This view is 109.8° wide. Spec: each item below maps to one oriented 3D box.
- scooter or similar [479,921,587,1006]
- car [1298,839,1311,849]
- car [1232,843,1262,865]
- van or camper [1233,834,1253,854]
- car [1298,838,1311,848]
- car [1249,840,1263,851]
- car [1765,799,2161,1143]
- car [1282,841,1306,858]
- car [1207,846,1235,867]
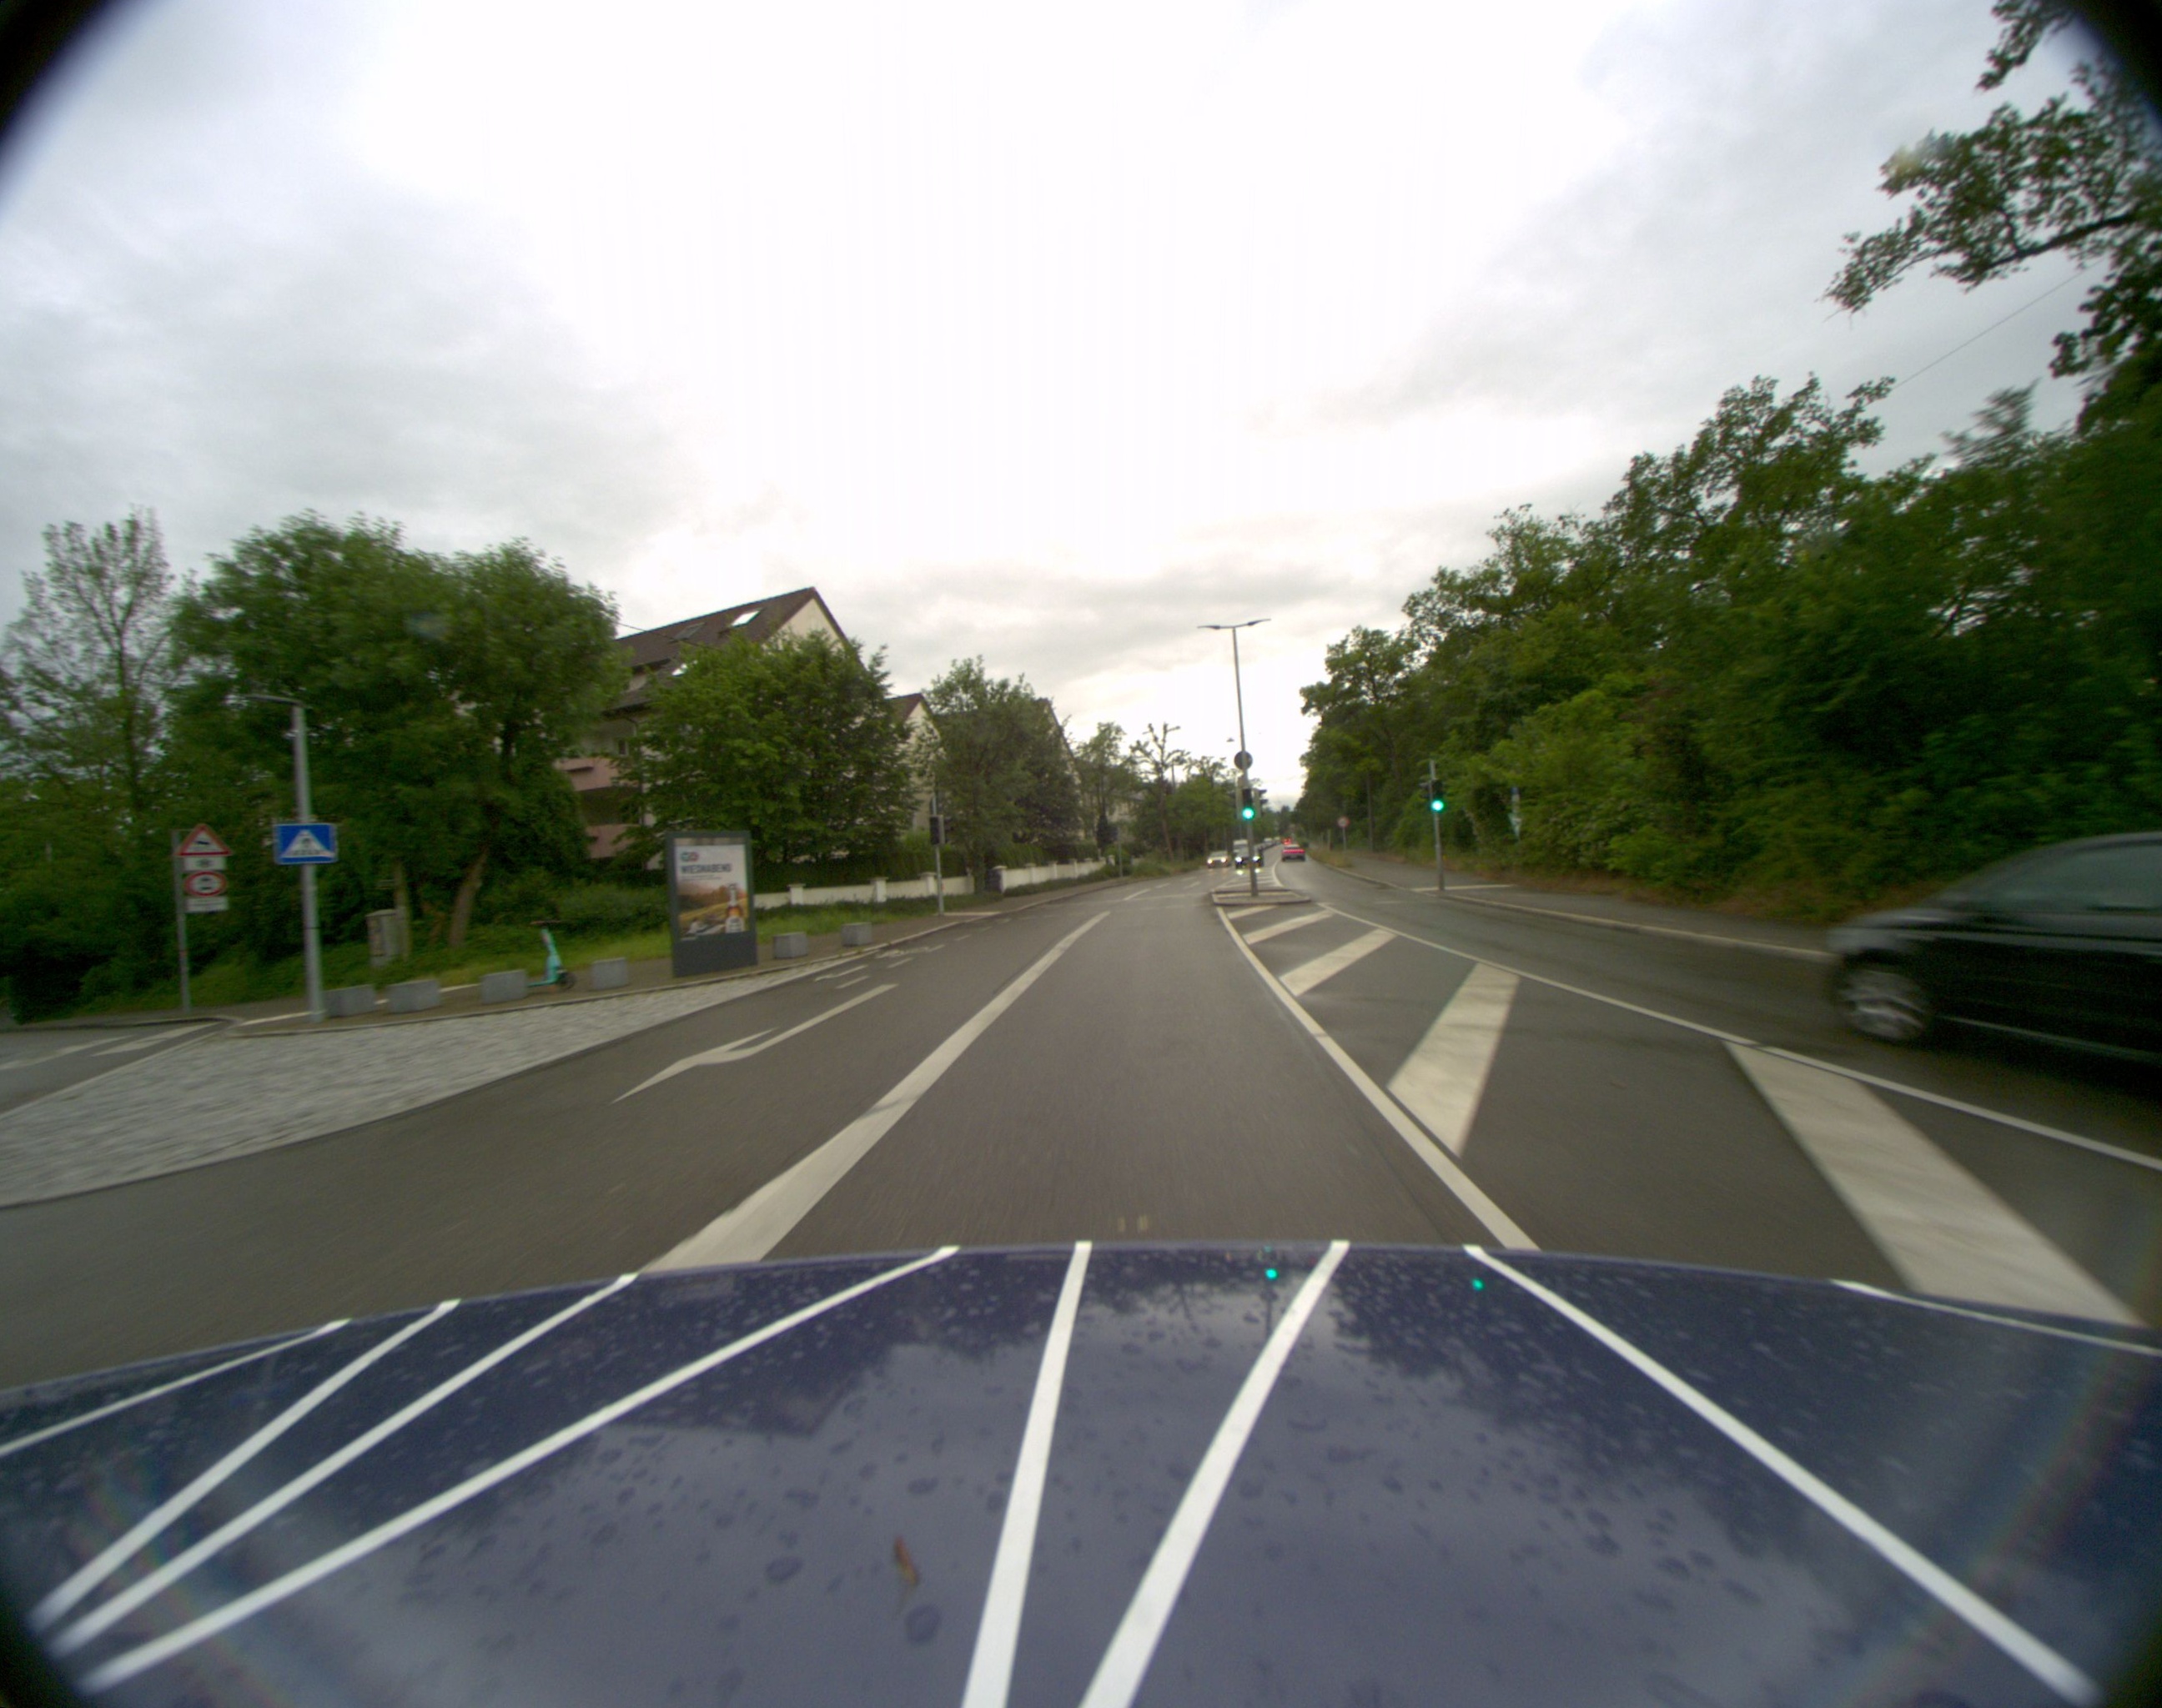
[{"bbox_3d":[-9.069,1.804,12.588,1.351,1.200,0.525,-7,1,9],"label":"scooter or similar"},{"bbox_3d":[39.599,-1.794,134.561,1.943,1.594,4.608,-3,0,15],"label":"car"},{"bbox_3d":[11.950,-0.034,54.519,1.943,1.446,4.608,-3,0,13],"label":"car"},{"bbox_3d":[21.464,-1.386,100.433,1.996,2.438,4.727,-4,0,17],"label":"van or camper"},{"bbox_3d":[37.143,-1.820,126.355,1.943,1.594,4.608,-3,0,15],"label":"car"},{"bbox_3d":[27.609,-1.348,119.962,1.943,1.594,4.608,-3,0,15],"label":"car"},{"bbox_3d":[6.169,0.552,4.078,1.580,1.720,3.775,-2,0,1],"label":"car"},{"bbox_3d":[18.549,-0.437,66.291,1.943,1.368,4.608,-3,0,15],"label":"car"},{"bbox_3d":[11.696,0.189,63.248,1.943,1.594,4.608,-3,0,15],"label":"car"}]
